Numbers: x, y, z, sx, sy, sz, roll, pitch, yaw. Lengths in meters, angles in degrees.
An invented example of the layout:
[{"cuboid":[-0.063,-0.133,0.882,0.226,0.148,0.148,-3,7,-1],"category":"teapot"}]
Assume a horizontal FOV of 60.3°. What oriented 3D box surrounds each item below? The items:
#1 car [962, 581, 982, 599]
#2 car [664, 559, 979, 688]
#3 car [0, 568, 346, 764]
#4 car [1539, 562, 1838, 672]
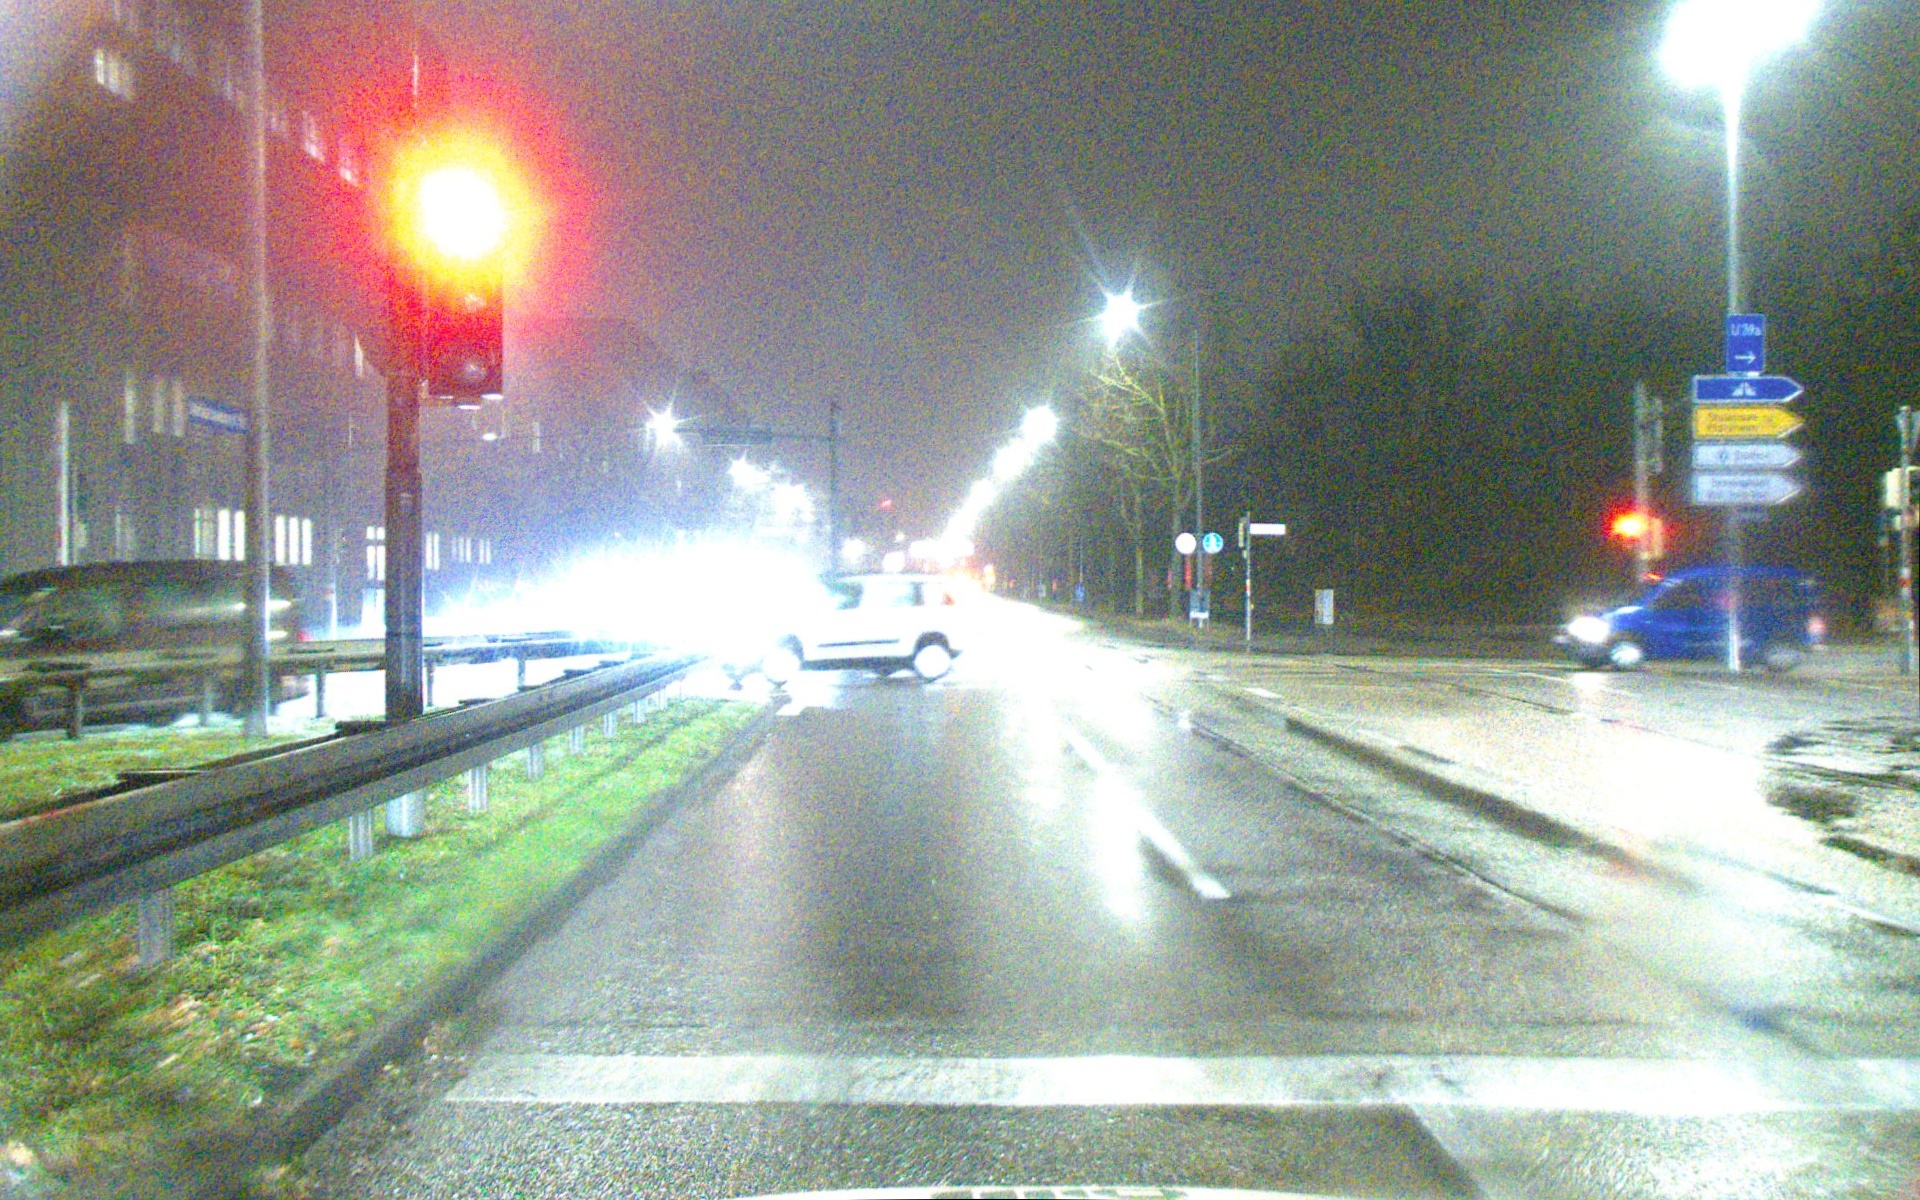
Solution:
[{"cuboid":[1.193,-0.984,167.734,1.953,1.790,3.999,1,0,-1],"category":"car"},{"cuboid":[-2.038,0.330,24.735,4.339,1.771,1.890,0,0,-31],"category":"car"},{"cuboid":[-8.840,0.599,16.832,1.926,1.771,4.915,1,0,25],"category":"car"},{"cuboid":[12.639,0.294,28.898,4.399,1.780,1.860,1,0,0],"category":"car"}]
